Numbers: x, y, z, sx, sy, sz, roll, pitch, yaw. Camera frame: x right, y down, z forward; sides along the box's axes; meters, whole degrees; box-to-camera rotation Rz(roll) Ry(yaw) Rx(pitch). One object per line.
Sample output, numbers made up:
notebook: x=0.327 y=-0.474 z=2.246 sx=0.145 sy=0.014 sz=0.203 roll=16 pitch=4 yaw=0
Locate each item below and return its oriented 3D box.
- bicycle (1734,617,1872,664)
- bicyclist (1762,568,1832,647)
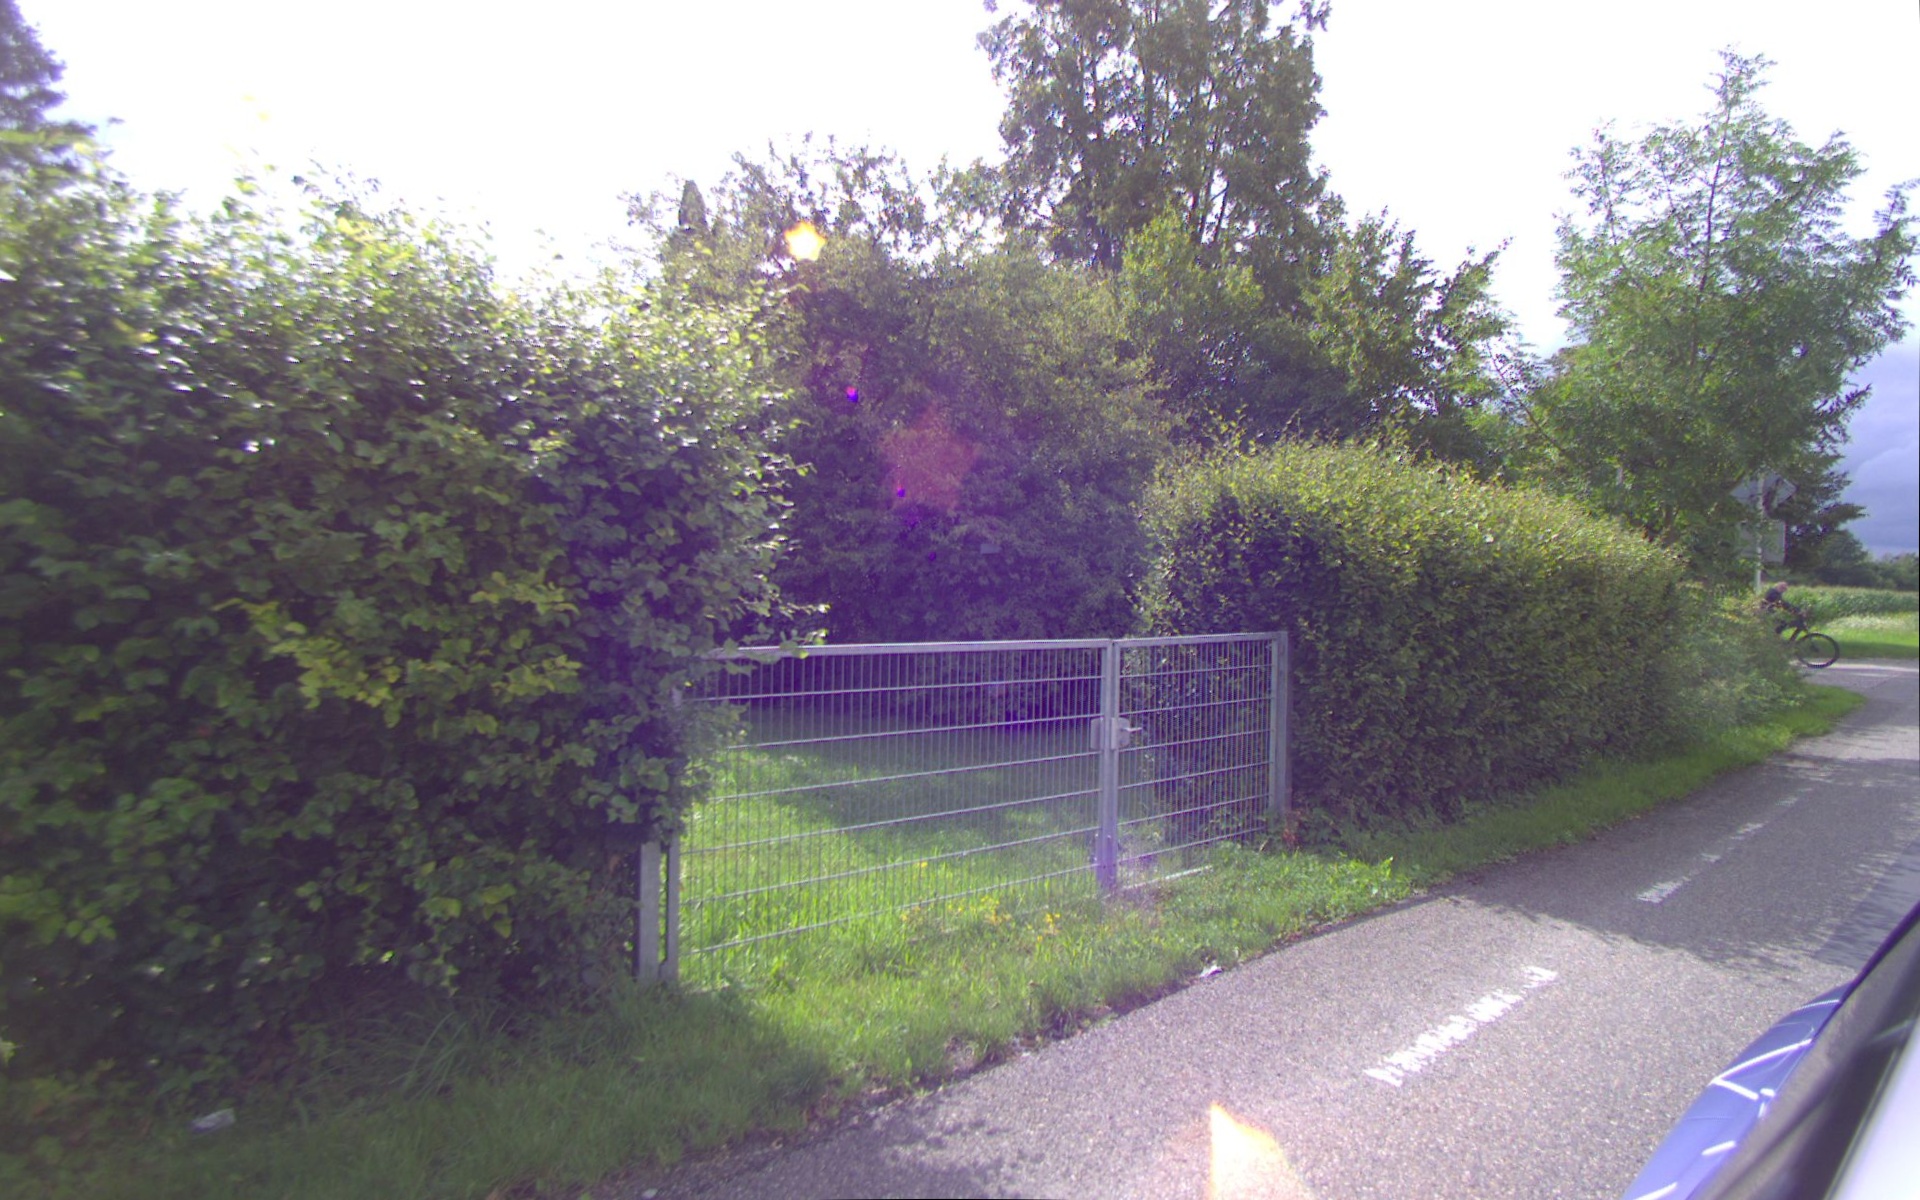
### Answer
bicycle: x=17.608 y=0.818 z=21.221 sx=2.108 sy=0.875 sz=1.041 roll=1 pitch=1 yaw=35
bicyclist: x=17.556 y=0.149 z=21.268 sx=1.013 sy=1.605 sz=1.041 roll=0 pitch=0 yaw=34
